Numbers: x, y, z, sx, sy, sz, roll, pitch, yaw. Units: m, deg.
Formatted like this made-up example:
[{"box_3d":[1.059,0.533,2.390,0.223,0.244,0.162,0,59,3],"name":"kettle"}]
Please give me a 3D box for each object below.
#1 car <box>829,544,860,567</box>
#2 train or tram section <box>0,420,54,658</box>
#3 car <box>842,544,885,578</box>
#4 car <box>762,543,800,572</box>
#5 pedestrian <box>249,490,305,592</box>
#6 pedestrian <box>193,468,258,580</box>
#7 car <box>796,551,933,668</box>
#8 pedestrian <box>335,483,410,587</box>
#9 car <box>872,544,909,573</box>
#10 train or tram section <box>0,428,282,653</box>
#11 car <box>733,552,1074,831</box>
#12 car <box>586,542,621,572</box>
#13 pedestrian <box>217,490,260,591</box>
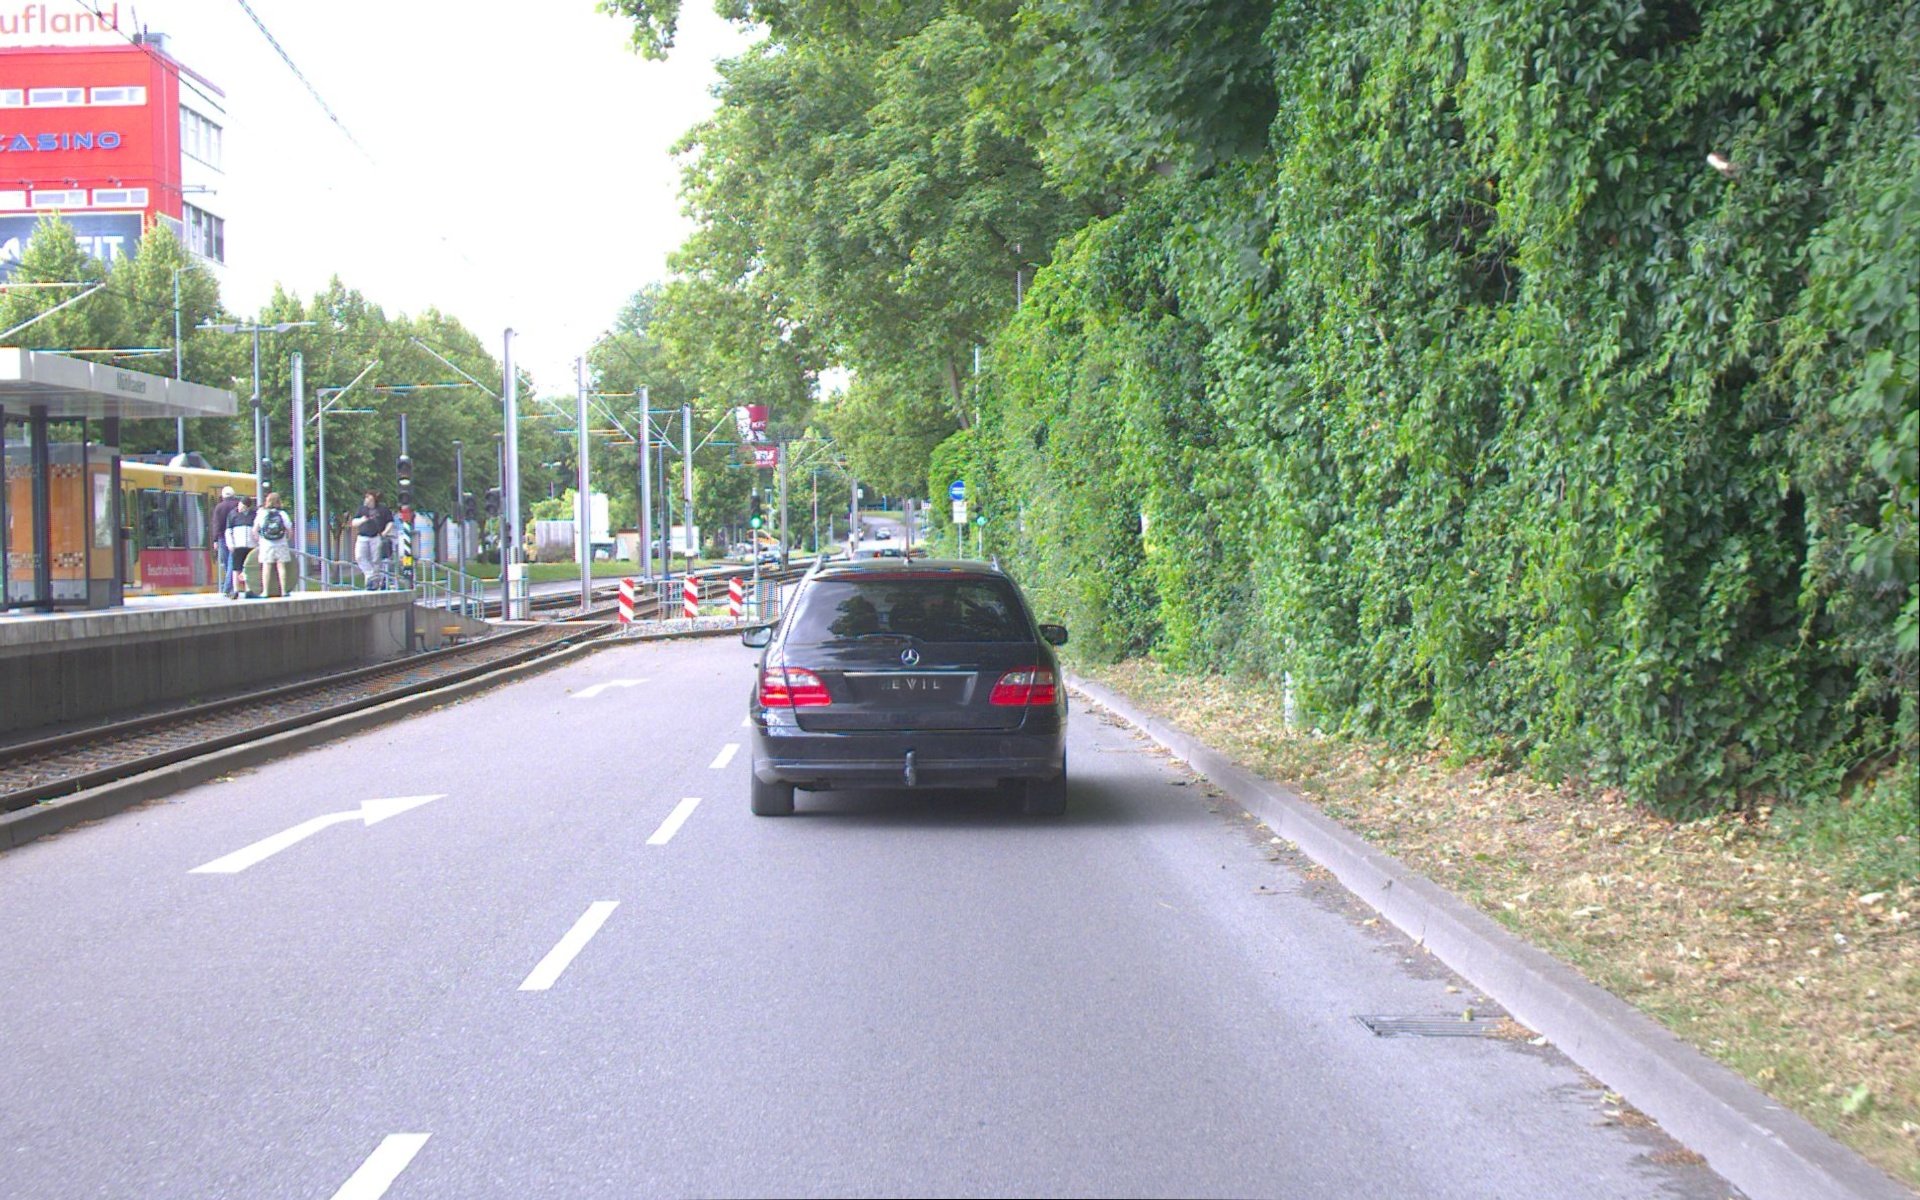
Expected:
[{"box_3d":[-7.655,-2.956,228.130,1.825,1.524,3.986,0,1,1],"name":"car"},{"box_3d":[-17.041,-0.843,49.396,2.756,3.869,18.632,-2,1,1],"name":"train or tram section"},{"box_3d":[-4.507,-1.840,160.649,1.825,1.524,4.416,-1,1,1],"name":"car"},{"box_3d":[-9.565,-2.296,183.832,1.825,1.524,3.928,0,1,1],"name":"car"},{"box_3d":[-9.997,-0.867,50.294,0.520,1.477,0.580,0,1,37],"name":"pedestrian"},{"box_3d":[-11.302,-1.167,52.907,0.771,1.672,0.791,-2,1,-1],"name":"pedestrian"},{"box_3d":[-1.325,0.097,47.738,1.825,1.524,4.416,0,1,-2],"name":"car"},{"box_3d":[-9.698,-1.068,56.725,0.745,1.672,0.874,-2,1,43],"name":"pedestrian"},{"box_3d":[-3.697,-2.217,183.488,1.825,1.524,3.928,0,1,1],"name":"car"},{"box_3d":[-16.787,-1.211,68.008,2.756,3.815,18.632,-2,1,1],"name":"train or tram section"},{"box_3d":[-0.317,0.461,20.662,1.833,1.473,4.416,0,1,0],"name":"car"},{"box_3d":[-24.777,-3.009,238.984,1.993,2.007,4.000,-2,1,-1],"name":"car"},{"box_3d":[-10.746,-0.890,51.215,0.475,1.478,0.542,-3,1,-22],"name":"pedestrian"}]
